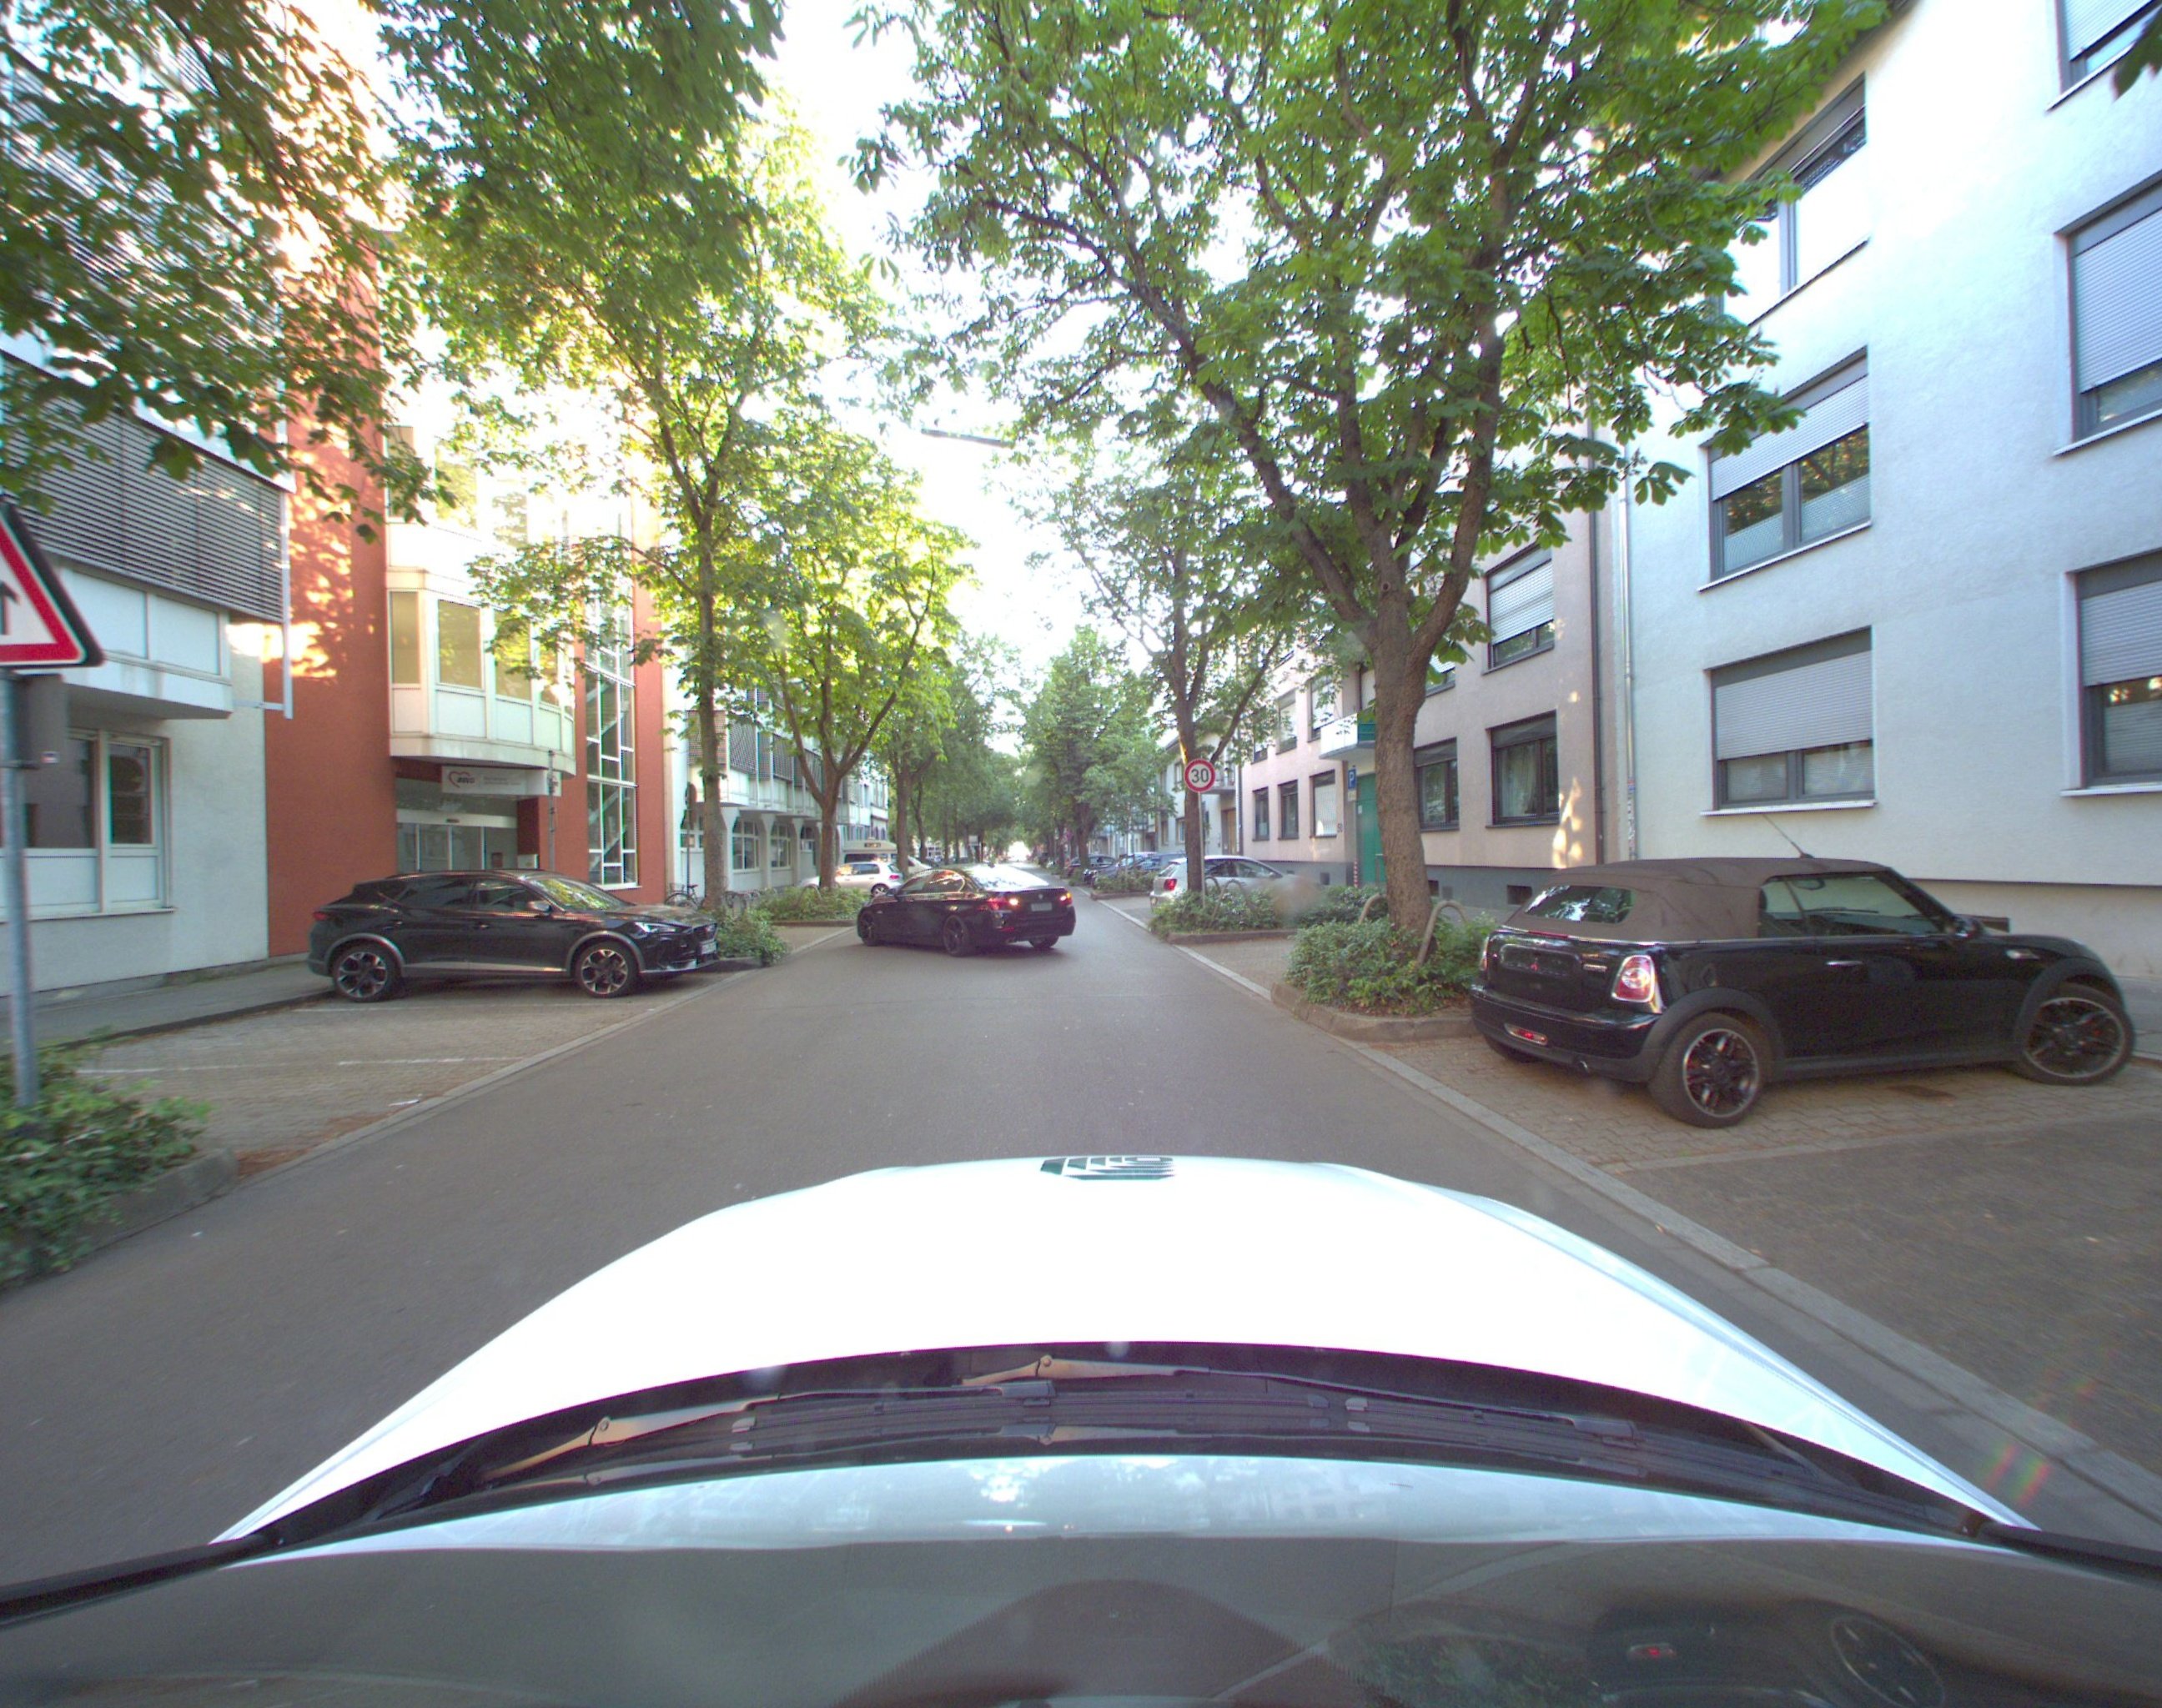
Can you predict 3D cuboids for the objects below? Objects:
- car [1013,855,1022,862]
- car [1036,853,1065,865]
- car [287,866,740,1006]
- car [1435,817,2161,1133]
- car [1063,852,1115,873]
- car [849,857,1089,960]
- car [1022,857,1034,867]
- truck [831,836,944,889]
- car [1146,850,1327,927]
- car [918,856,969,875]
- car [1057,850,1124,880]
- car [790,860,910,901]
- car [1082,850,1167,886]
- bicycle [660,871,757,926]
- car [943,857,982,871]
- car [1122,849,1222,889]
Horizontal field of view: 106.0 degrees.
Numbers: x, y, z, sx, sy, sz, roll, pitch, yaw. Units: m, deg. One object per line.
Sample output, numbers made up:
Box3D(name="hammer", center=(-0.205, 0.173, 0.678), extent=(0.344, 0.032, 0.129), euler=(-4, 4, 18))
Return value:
Box3D(name="car", center=(-14.453, 0.978, 185.810), extent=(1.891, 1.475, 3.995), euler=(-1, 0, -4))
Box3D(name="car", center=(-3.876, 0.604, 103.222), extent=(3.653, 1.393, 1.562), euler=(-1, 0, -7))
Box3D(name="car", center=(-6.900, 0.948, 10.347), extent=(4.349, 1.509, 1.832), euler=(0, 0, -5))
Box3D(name="car", center=(4.527, 0.616, 5.356), extent=(3.702, 1.428, 1.622), euler=(-4, 0, -10))
Box3D(name="car", center=(0.569, 0.589, 60.247), extent=(3.653, 1.393, 1.562), euler=(-2, 0, -7))
Box3D(name="car", center=(-2.089, 0.817, 14.014), extent=(1.778, 1.450, 4.611), euler=(-1, 0, -42))
Box3D(name="car", center=(-9.011, 1.333, 137.645), extent=(1.990, 1.552, 3.994), euler=(-1, 0, -5))
Box3D(name="truck", center=(-9.302, 0.375, 39.464), extent=(4.989, 2.441, 1.914), euler=(0, 1, -4))
Box3D(name="car", center=(3.403, 0.725, 18.147), extent=(3.653, 1.479, 1.562), euler=(-2, 0, -7))
Box3D(name="car", center=(-11.296, 0.928, 67.161), extent=(4.014, 1.471, 1.637), euler=(0, 0, -5))
Box3D(name="car", center=(0.531, 0.634, 47.005), extent=(3.653, 1.536, 1.562), euler=(-2, 0, -7))
Box3D(name="car", center=(-8.764, 0.995, 31.119), extent=(4.125, 1.471, 1.637), euler=(0, 0, -5))
Box3D(name="car", center=(2.014, 0.657, 38.482), extent=(3.788, 1.530, 1.562), euler=(-2, 0, -7))
Box3D(name="bicycle", center=(-8.742, 1.036, 19.175), extent=(1.973, 1.199, 0.499), euler=(-1, 0, -16))
Box3D(name="car", center=(-12.775, 1.046, 87.840), extent=(4.014, 1.471, 1.637), euler=(0, 0, -5))
Box3D(name="car", center=(3.572, 0.556, 32.192), extent=(3.653, 1.393, 1.562), euler=(-2, 0, -7))
